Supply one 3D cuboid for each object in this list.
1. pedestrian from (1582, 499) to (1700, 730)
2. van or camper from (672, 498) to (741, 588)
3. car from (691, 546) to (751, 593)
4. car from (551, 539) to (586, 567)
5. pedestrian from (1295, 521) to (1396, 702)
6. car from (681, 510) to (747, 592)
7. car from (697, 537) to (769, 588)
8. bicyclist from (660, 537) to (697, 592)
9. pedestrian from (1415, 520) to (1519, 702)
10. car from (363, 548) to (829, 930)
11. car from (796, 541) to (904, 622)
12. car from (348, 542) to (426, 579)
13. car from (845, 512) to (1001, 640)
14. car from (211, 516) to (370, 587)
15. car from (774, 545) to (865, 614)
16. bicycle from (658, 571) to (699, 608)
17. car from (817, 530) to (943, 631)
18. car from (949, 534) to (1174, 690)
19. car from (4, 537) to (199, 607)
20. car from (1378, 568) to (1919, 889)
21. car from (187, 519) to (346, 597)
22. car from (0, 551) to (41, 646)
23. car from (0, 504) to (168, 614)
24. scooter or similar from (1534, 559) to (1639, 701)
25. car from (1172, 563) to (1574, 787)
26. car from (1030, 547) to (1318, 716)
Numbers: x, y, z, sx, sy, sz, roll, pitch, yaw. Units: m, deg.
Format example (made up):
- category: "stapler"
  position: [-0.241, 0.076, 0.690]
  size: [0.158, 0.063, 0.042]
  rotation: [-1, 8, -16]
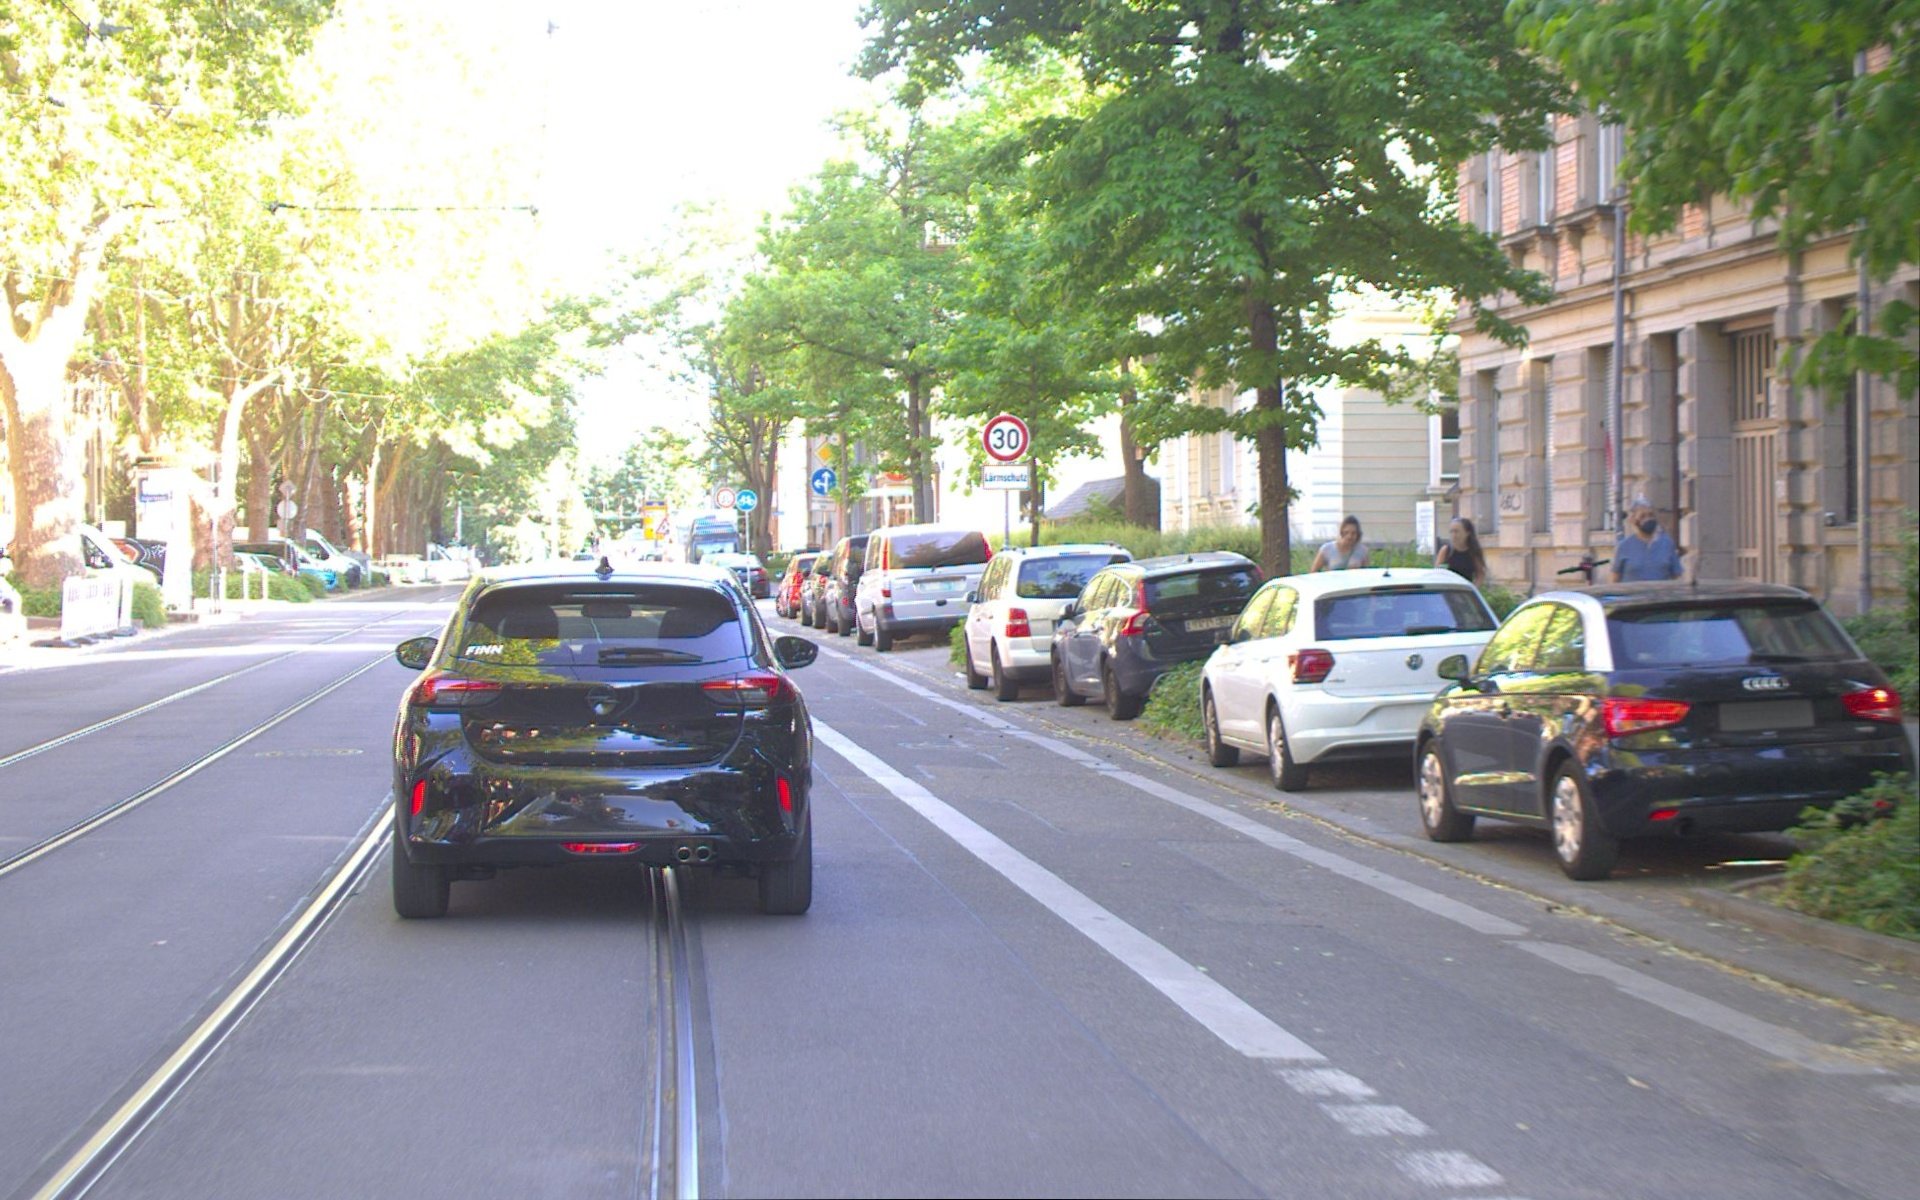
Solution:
- category: "pedestrian"
  position: [5.347, 0.114, 27.016]
  size: [0.726, 1.787, 0.600]
  rotation: [1, 0, -8]
- category: "van or camper"
  position: [-9.409, -2.097, 127.131]
  size: [2.253, 3.205, 5.532]
  rotation: [-1, 1, -6]
- category: "car"
  position: [-7.906, -0.990, 113.454]
  size: [1.803, 1.429, 4.001]
  rotation: [-1, 0, -6]
- category: "car"
  position: [-26.279, -3.133, 230.714]
  size: [2.253, 1.834, 5.532]
  rotation: [-1, 1, -6]
- category: "pedestrian"
  position: [3.650, 0.102, 32.611]
  size: [0.726, 1.687, 0.957]
  rotation: [1, 0, -8]
- category: "car"
  position: [-8.655, -1.740, 120.611]
  size: [2.084, 2.762, 4.698]
  rotation: [-1, 1, -6]
- category: "car"
  position: [-6.830, -1.121, 103.148]
  size: [1.883, 1.429, 4.531]
  rotation: [-3, 1, -6]
- category: "bicyclist"
  position: [-7.851, -0.991, 95.877]
  size: [0.958, 1.494, 1.094]
  rotation: [1, 0, -8]
- category: "pedestrian"
  position: [4.811, 0.097, 32.656]
  size: [0.726, 1.703, 0.856]
  rotation: [1, 0, -10]
- category: "car"
  position: [-1.604, 0.515, 15.181]
  size: [1.763, 1.455, 3.951]
  rotation: [1, 1, -6]
- category: "car"
  position: [-2.222, -0.391, 68.776]
  size: [1.711, 1.509, 4.038]
  rotation: [-2, 1, -8]
- category: "car"
  position: [-32.225, -2.221, 193.371]
  size: [3.987, 2.007, 2.000]
  rotation: [1, 1, 0]
- category: "car"
  position: [-0.639, -0.390, 54.055]
  size: [1.883, 1.845, 4.968]
  rotation: [-3, 1, -6]
- category: "car"
  position: [-25.502, -1.838, 131.043]
  size: [5.638, 2.584, 2.196]
  rotation: [1, 0, -2]
- category: "car"
  position: [-3.198, -0.477, 77.569]
  size: [1.702, 1.418, 3.979]
  rotation: [-3, 1, -6]
- category: "bicycle"
  position: [-7.860, -0.310, 95.906]
  size: [0.967, 0.995, 2.584]
  rotation: [1, 1, -8]
- category: "car"
  position: [-1.508, -0.376, 62.992]
  size: [1.885, 1.760, 4.679]
  rotation: [-1, 1, -6]
- category: "car"
  position: [1.069, 0.101, 38.466]
  size: [1.883, 1.562, 4.243]
  rotation: [-3, 1, -6]
- category: "car"
  position: [-20.271, -0.659, 81.311]
  size: [4.298, 1.601, 1.926]
  rotation: [0, 1, -9]
- category: "car"
  position: [3.513, 0.576, 17.905]
  size: [1.672, 1.407, 3.844]
  rotation: [-3, 1, -8]
- category: "car"
  position: [-23.856, -1.436, 118.431]
  size: [5.035, 2.366, 2.082]
  rotation: [-3, 1, -6]
- category: "car"
  position: [-16.505, -0.056, 53.528]
  size: [3.986, 1.460, 1.854]
  rotation: [1, 1, -6]
- category: "car"
  position: [-19.410, -0.873, 72.716]
  size: [5.031, 2.251, 2.086]
  rotation: [1, 1, -9]
- category: "scooter or similar"
  position: [5.628, 0.255, 30.936]
  size: [0.575, 1.242, 1.335]
  rotation: [1, 1, -5]
- category: "car"
  position: [2.813, 0.460, 24.370]
  size: [1.883, 1.363, 4.108]
  rotation: [-3, 1, -6]
- category: "car"
  position: [2.006, 0.257, 33.694]
  size: [1.883, 1.462, 4.595]
  rotation: [-3, 1, -8]
